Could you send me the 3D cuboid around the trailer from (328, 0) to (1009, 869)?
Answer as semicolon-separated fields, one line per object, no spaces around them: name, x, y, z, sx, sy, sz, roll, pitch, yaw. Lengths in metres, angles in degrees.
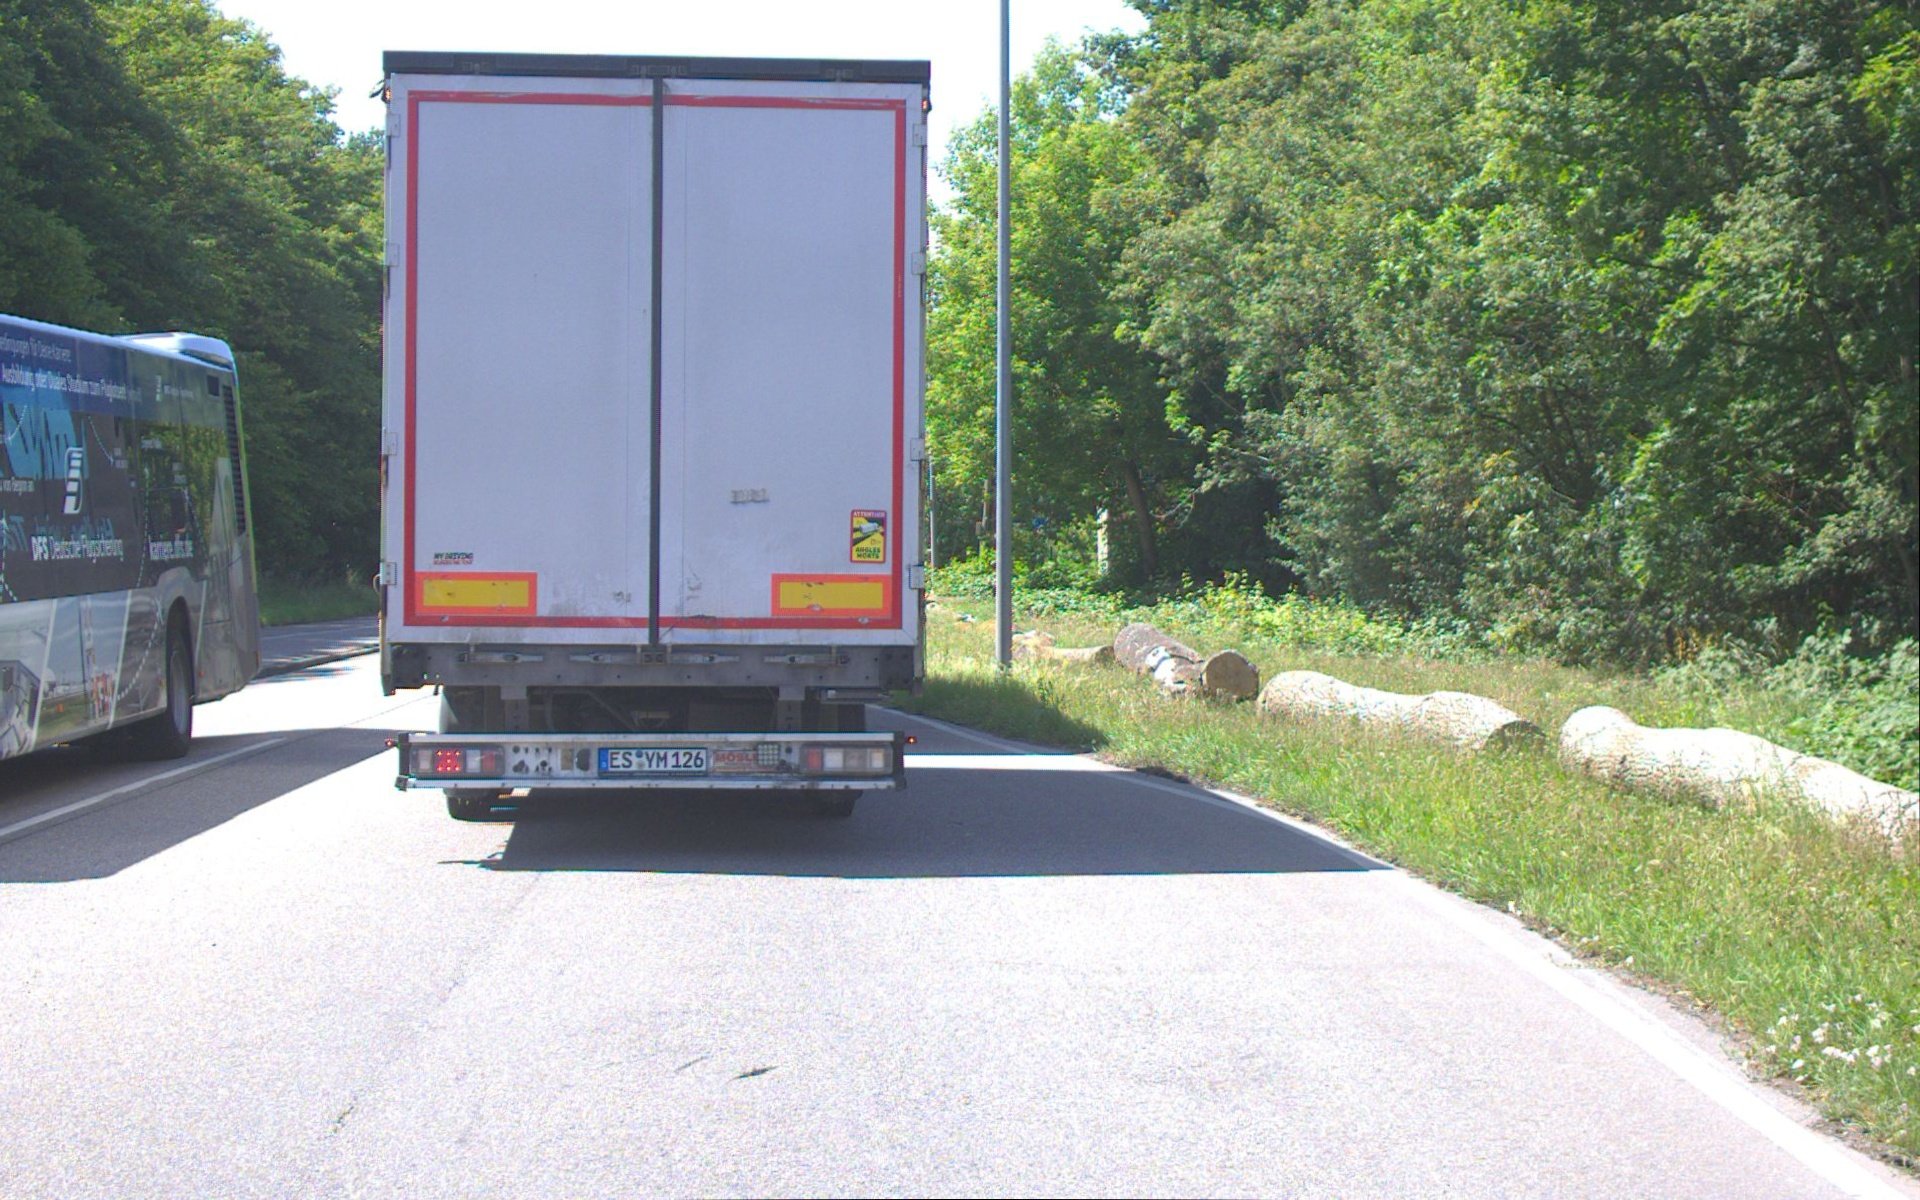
trailer;-1.811;-0.917;20.537;3.076;4.056;9.811;0;1;-6

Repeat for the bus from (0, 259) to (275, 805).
bus;-6.761;-0.395;21.389;2.749;3.035;11.940;-3;2;-1

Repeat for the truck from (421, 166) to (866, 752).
truck;-2.563;-1.086;27.905;3.076;4.055;7.961;0;2;-5

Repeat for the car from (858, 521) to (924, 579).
car;-1.871;-1.350;92.468;1.710;1.525;3.851;0;1;-2
